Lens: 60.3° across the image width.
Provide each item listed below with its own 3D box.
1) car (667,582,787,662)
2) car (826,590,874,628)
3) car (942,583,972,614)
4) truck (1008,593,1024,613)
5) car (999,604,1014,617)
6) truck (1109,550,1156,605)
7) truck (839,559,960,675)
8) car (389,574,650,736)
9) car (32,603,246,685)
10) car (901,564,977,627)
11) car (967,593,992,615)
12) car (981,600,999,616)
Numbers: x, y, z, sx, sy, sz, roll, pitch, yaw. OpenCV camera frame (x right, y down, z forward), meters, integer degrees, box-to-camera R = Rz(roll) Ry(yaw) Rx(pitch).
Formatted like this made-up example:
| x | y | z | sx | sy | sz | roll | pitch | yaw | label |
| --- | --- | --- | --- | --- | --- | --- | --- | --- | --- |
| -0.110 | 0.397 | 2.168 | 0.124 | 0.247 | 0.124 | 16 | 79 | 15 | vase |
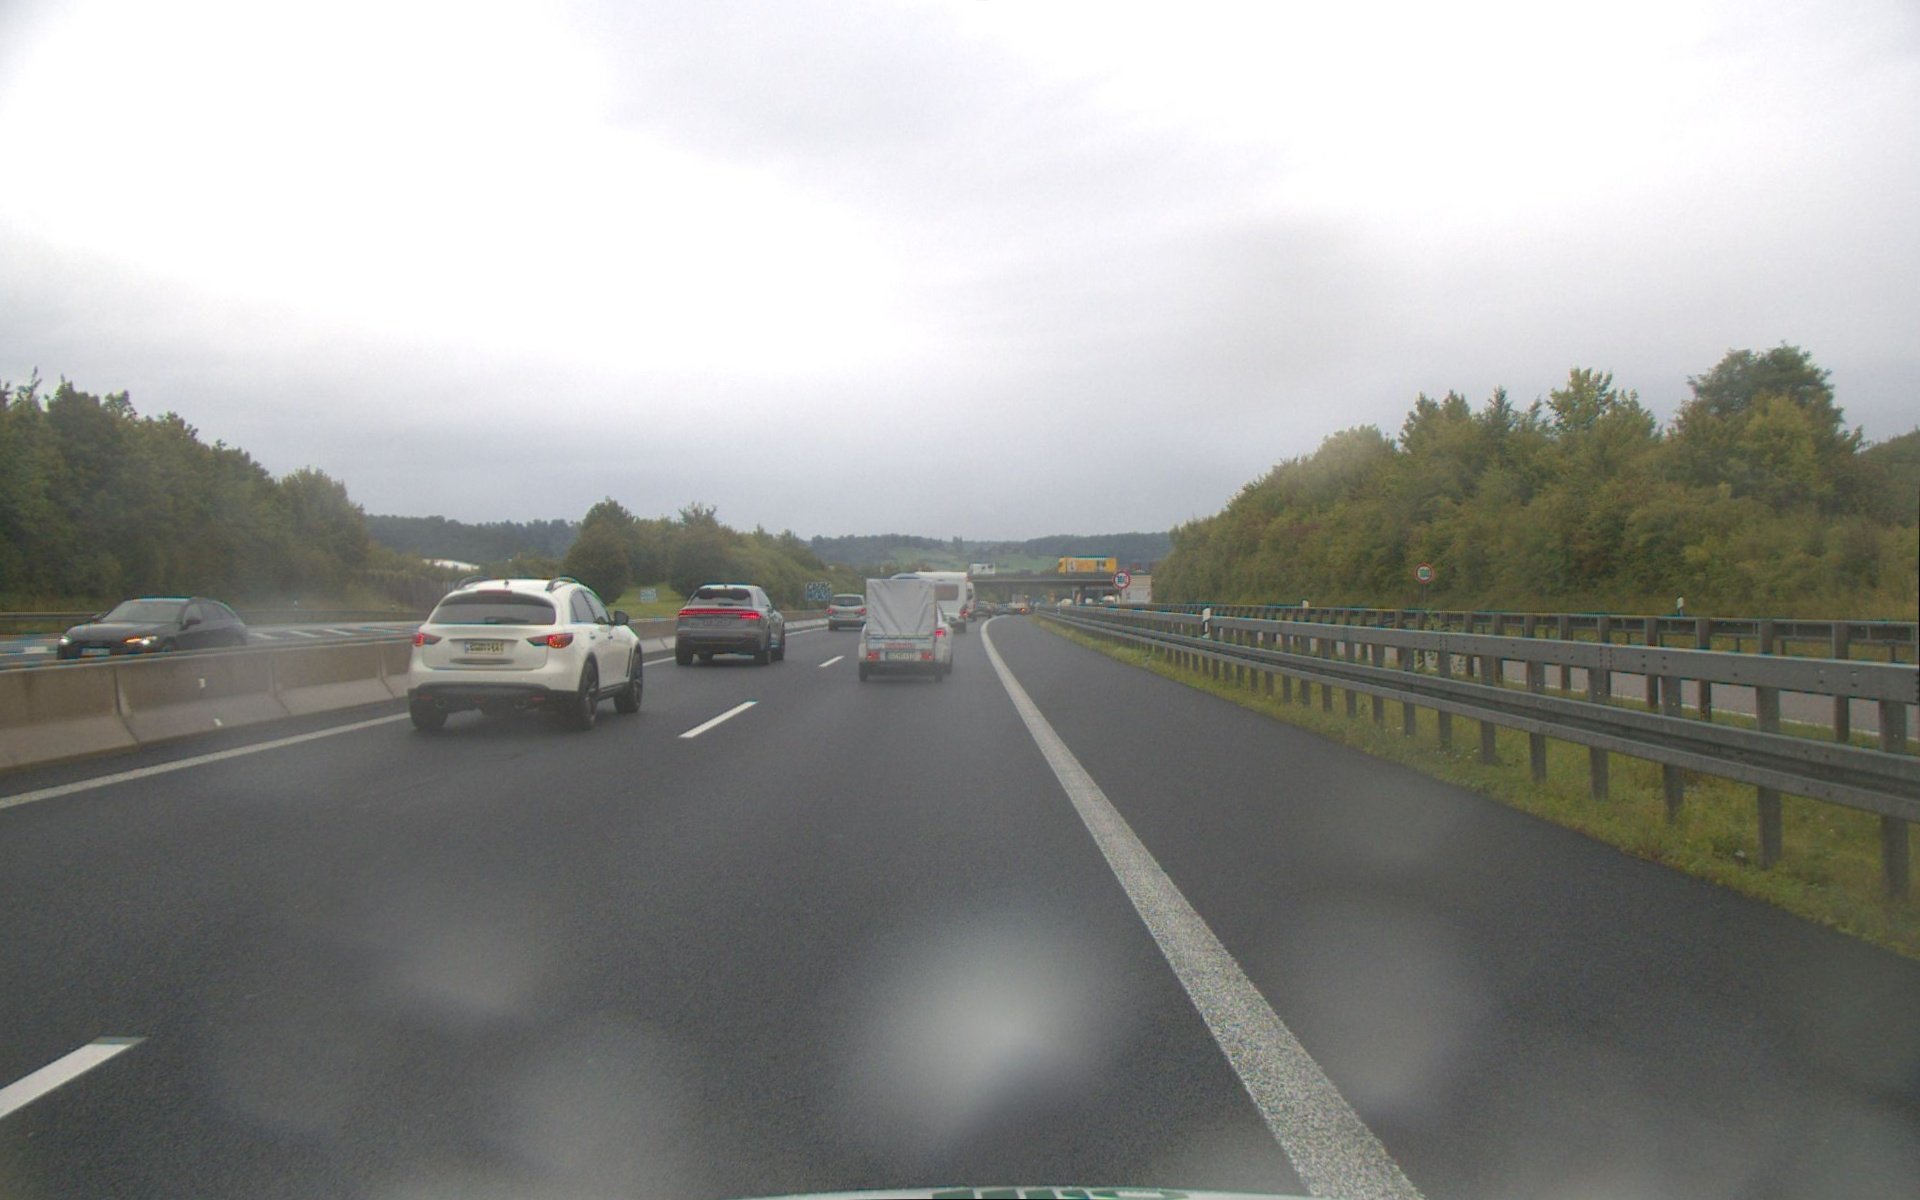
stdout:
| x | y | z | sx | sy | sz | roll | pitch | yaw | label |
| --- | --- | --- | --- | --- | --- | --- | --- | --- | --- |
| -5.076 | 0.452 | 36.675 | 2.130 | 1.660 | 4.499 | 0 | 0 | -2 | car |
| -4.917 | 0.387 | 74.387 | 1.861 | 1.641 | 4.017 | 0 | 0 | 0 | car |
| -0.222 | -0.088 | 115.789 | 1.953 | 2.071 | 4.150 | 1 | 0 | -2 | car |
| 8.668 | 0.467 | 255.281 | 2.230 | 3.136 | 7.249 | 1 | 0 | 3 | truck |
| 6.476 | 1.480 | 231.818 | 1.952 | 1.780 | 4.002 | 1 | 0 | 3 | car |
| 16.920 | -2.168 | 162.842 | 4.008 | 5.193 | 10.466 | 0 | 0 | 2 | truck |
| -1.052 | 0.278 | 32.361 | 1.977 | 2.020 | 7.214 | 0 | 0 | 1 | truck |
| -4.963 | 0.566 | 19.315 | 1.936 | 1.668 | 4.499 | 0 | 0 | -1 | car |
| -15.396 | 0.778 | 31.297 | 1.861 | 1.430 | 4.379 | 0 | 0 | 0 | car |
| -0.866 | -0.197 | 72.760 | 2.953 | 2.662 | 6.077 | 0 | 0 | 3 | car |
| 1.680 | 0.326 | 140.487 | 1.952 | 1.780 | 4.001 | 1 | 0 | 2 | car |
| 3.496 | 0.947 | 193.956 | 1.952 | 1.780 | 4.001 | 1 | 0 | 2 | car |
